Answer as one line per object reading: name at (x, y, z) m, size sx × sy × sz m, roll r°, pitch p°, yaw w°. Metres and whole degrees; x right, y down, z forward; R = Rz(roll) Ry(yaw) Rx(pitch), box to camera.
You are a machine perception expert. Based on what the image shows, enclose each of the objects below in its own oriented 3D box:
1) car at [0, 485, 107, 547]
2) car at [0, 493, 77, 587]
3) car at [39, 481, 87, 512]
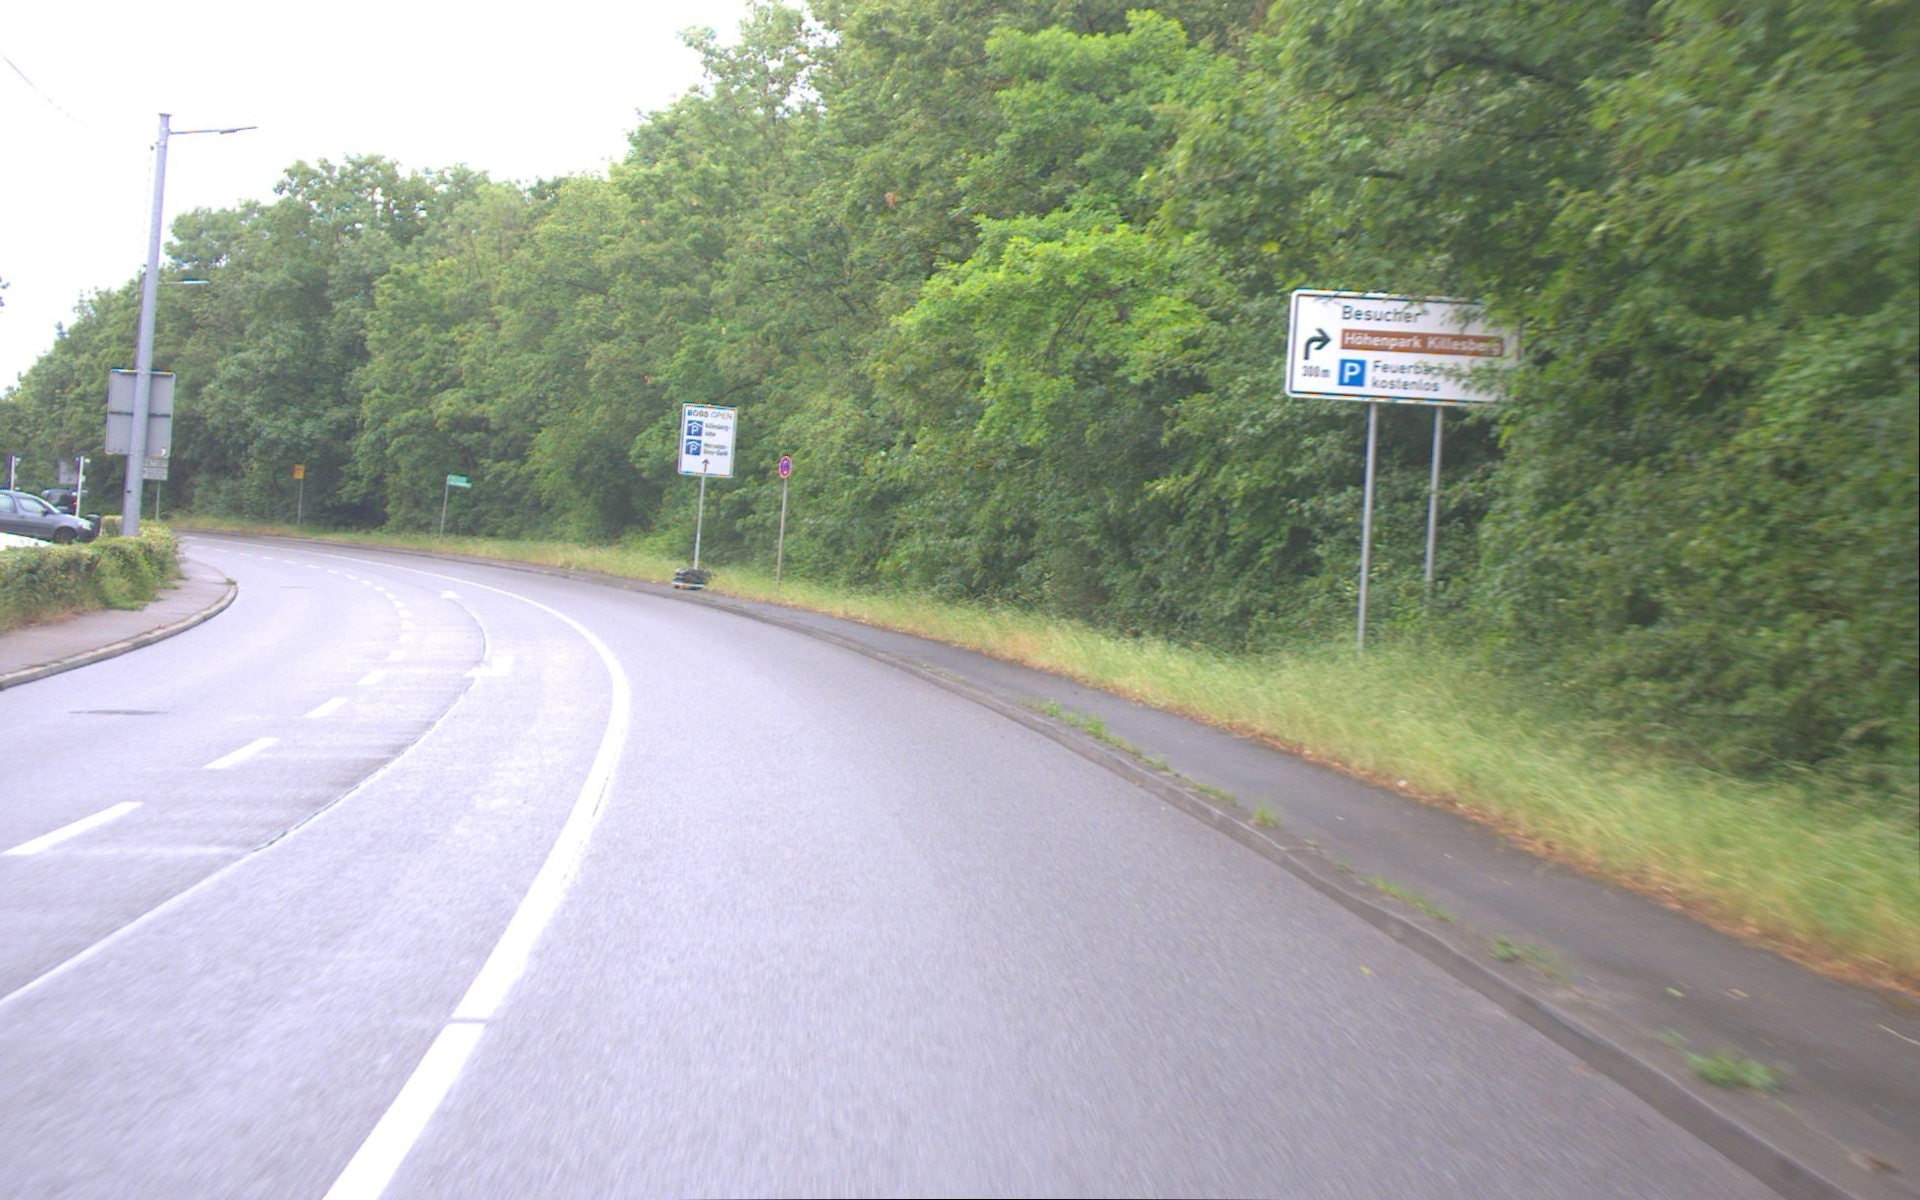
car at (-27.638, -2.525, 102.178) m, size 4.289 × 1.702 × 2.001 m, roll 2°, pitch 1°, yaw -12°
car at (-17.047, -1.077, 57.040) m, size 4.573 × 1.501 × 2.001 m, roll 2°, pitch 1°, yaw -15°
car at (-47.004, -5.438, 180.117) m, size 1.934 × 1.493 × 4.319 m, roll 2°, pitch 1°, yaw -21°
